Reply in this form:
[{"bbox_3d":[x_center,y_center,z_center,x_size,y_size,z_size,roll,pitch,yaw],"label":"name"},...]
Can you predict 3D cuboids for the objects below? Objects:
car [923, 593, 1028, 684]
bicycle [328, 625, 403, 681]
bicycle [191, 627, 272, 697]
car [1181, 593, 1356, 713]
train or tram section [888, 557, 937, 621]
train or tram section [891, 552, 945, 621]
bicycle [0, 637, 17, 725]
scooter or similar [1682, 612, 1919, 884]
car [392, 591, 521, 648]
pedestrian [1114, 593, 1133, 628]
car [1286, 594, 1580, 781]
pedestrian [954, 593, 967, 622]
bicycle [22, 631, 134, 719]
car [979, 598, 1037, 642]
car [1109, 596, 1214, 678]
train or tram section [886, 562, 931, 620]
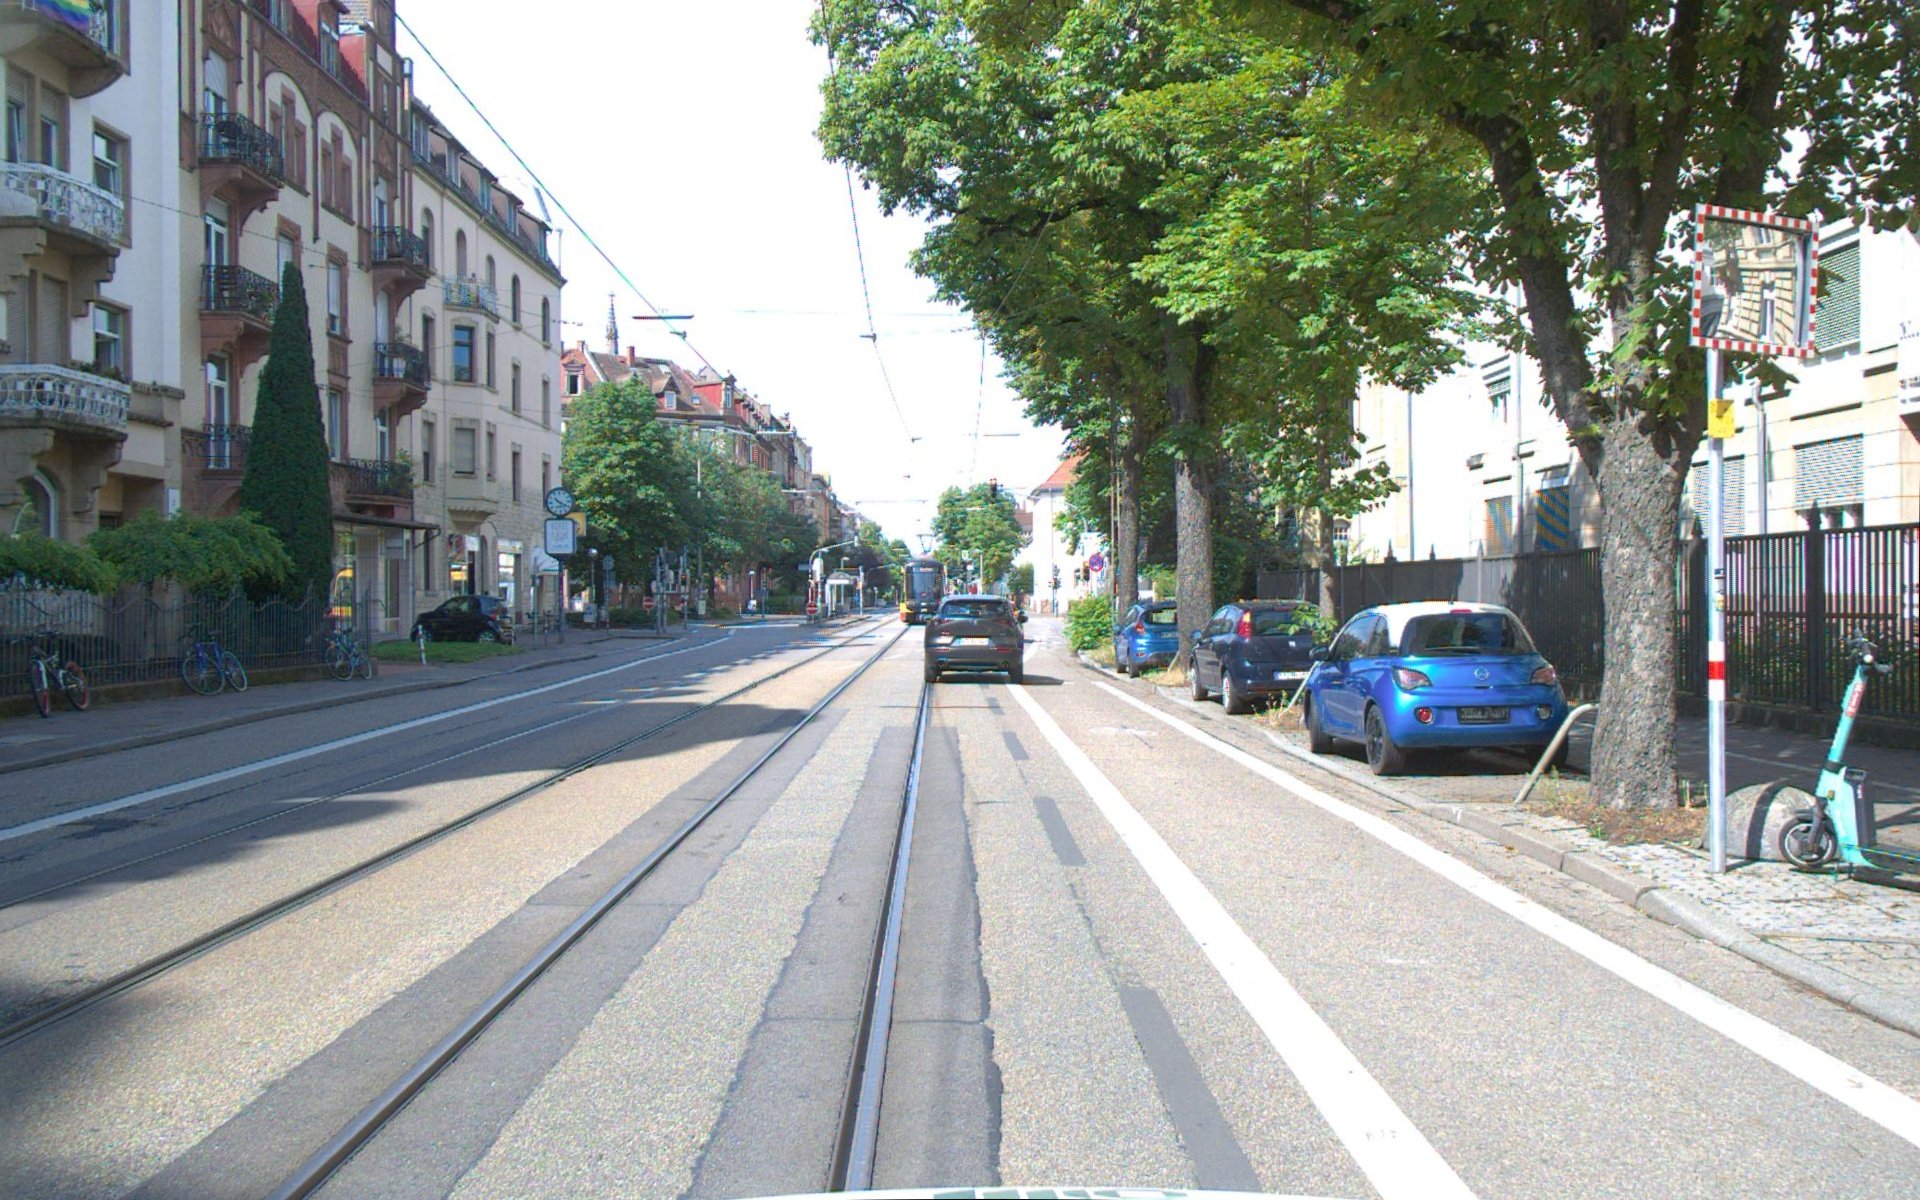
[{"bbox_3d":[0.220,0.670,30.580,1.753,1.538,4.349,1,0,-2],"label":"car"},{"bbox_3d":[-10.921,0.979,30.432,0.500,0.976,1.816,2,-2,6],"label":"bicycle"},{"bbox_3d":[-10.932,0.914,24.868,0.417,0.976,1.706,1,0,1],"label":"bicycle"},{"bbox_3d":[4.327,0.698,23.684,1.607,1.522,3.756,-2,0,-3],"label":"car"},{"bbox_3d":[-2.908,-0.610,99.857,2.599,3.589,8.489,-1,0,-4],"label":"train or tram section"},{"bbox_3d":[-2.372,-0.678,91.376,2.599,3.589,8.489,-1,0,-4],"label":"train or tram section"},{"bbox_3d":[-10.979,0.914,17.983,0.375,0.976,1.801,1,0,1],"label":"bicycle"},{"bbox_3d":[4.541,0.743,8.842,0.436,1.322,1.170,-4,2,-31],"label":"scooter or similar"},{"bbox_3d":[-14.616,0.557,48.075,3.169,1.539,1.679,1,0,2],"label":"car"},{"bbox_3d":[7.586,0.478,76.775,0.856,1.633,0.632,0,0,2],"label":"pedestrian"},{"bbox_3d":[4.364,0.736,15.812,1.607,1.522,3.625,-2,0,-2],"label":"car"},{"bbox_3d":[0.029,0.420,93.124,0.654,1.633,0.699,0,0,-3],"label":"pedestrian"},{"bbox_3d":[-10.885,0.906,20.469,0.375,0.992,1.801,1,0,1],"label":"bicycle"},{"bbox_3d":[1.765,0.710,61.880,1.749,1.518,4.880,-1,0,-3],"label":"car"},{"bbox_3d":[4.087,0.720,34.085,1.591,1.522,3.847,-2,0,-1],"label":"car"},{"bbox_3d":[-3.439,-0.559,108.328,2.599,3.589,8.489,-1,0,-4],"label":"train or tram section"}]
